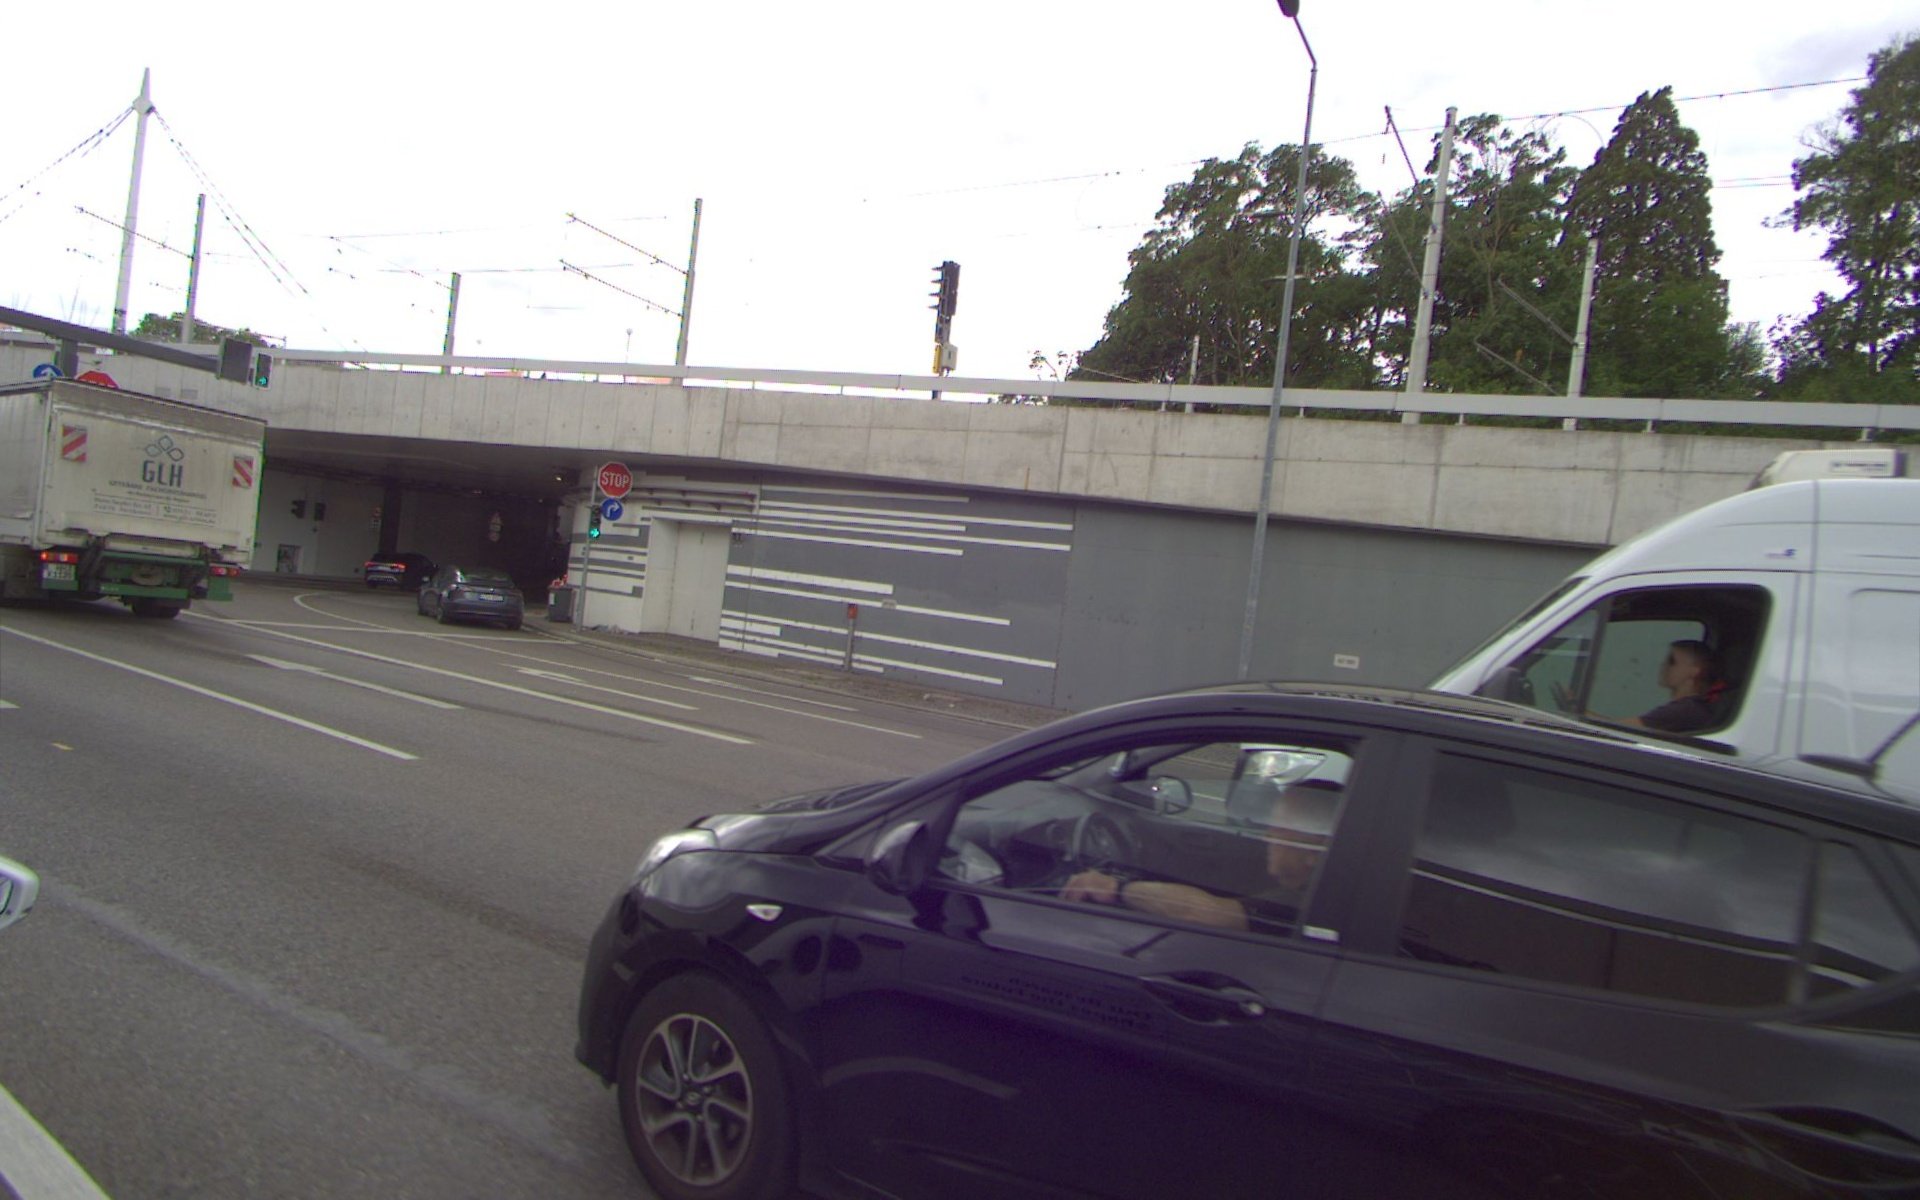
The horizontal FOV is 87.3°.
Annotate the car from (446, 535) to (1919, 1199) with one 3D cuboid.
[{"bbox_3d":[0.666,0.886,2.584,3.630,1.563,1.686,8,-1,30],"label":"car"}]

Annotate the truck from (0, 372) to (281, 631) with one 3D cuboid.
[{"bbox_3d":[-14.275,-1.586,16.044,7.302,3.224,2.653,7,0,31],"label":"truck"}]

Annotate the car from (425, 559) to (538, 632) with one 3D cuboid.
[{"bbox_3d":[-12.116,-0.158,25.302,1.980,1.418,4.429,7,-1,-32],"label":"car"}]

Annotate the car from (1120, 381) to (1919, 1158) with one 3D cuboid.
[{"bbox_3d":[4.590,0.759,4.230,7.203,2.806,2.079,8,0,31],"label":"car"}]

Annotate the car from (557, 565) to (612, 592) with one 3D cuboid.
[{"bbox_3d":[-22.558,-1.298,60.601,1.658,1.351,3.665,9,2,3],"label":"car"}]

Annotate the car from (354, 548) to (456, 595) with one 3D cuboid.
[{"bbox_3d":[-23.031,-1.188,41.928,1.799,1.610,3.996,7,2,2],"label":"car"}]
